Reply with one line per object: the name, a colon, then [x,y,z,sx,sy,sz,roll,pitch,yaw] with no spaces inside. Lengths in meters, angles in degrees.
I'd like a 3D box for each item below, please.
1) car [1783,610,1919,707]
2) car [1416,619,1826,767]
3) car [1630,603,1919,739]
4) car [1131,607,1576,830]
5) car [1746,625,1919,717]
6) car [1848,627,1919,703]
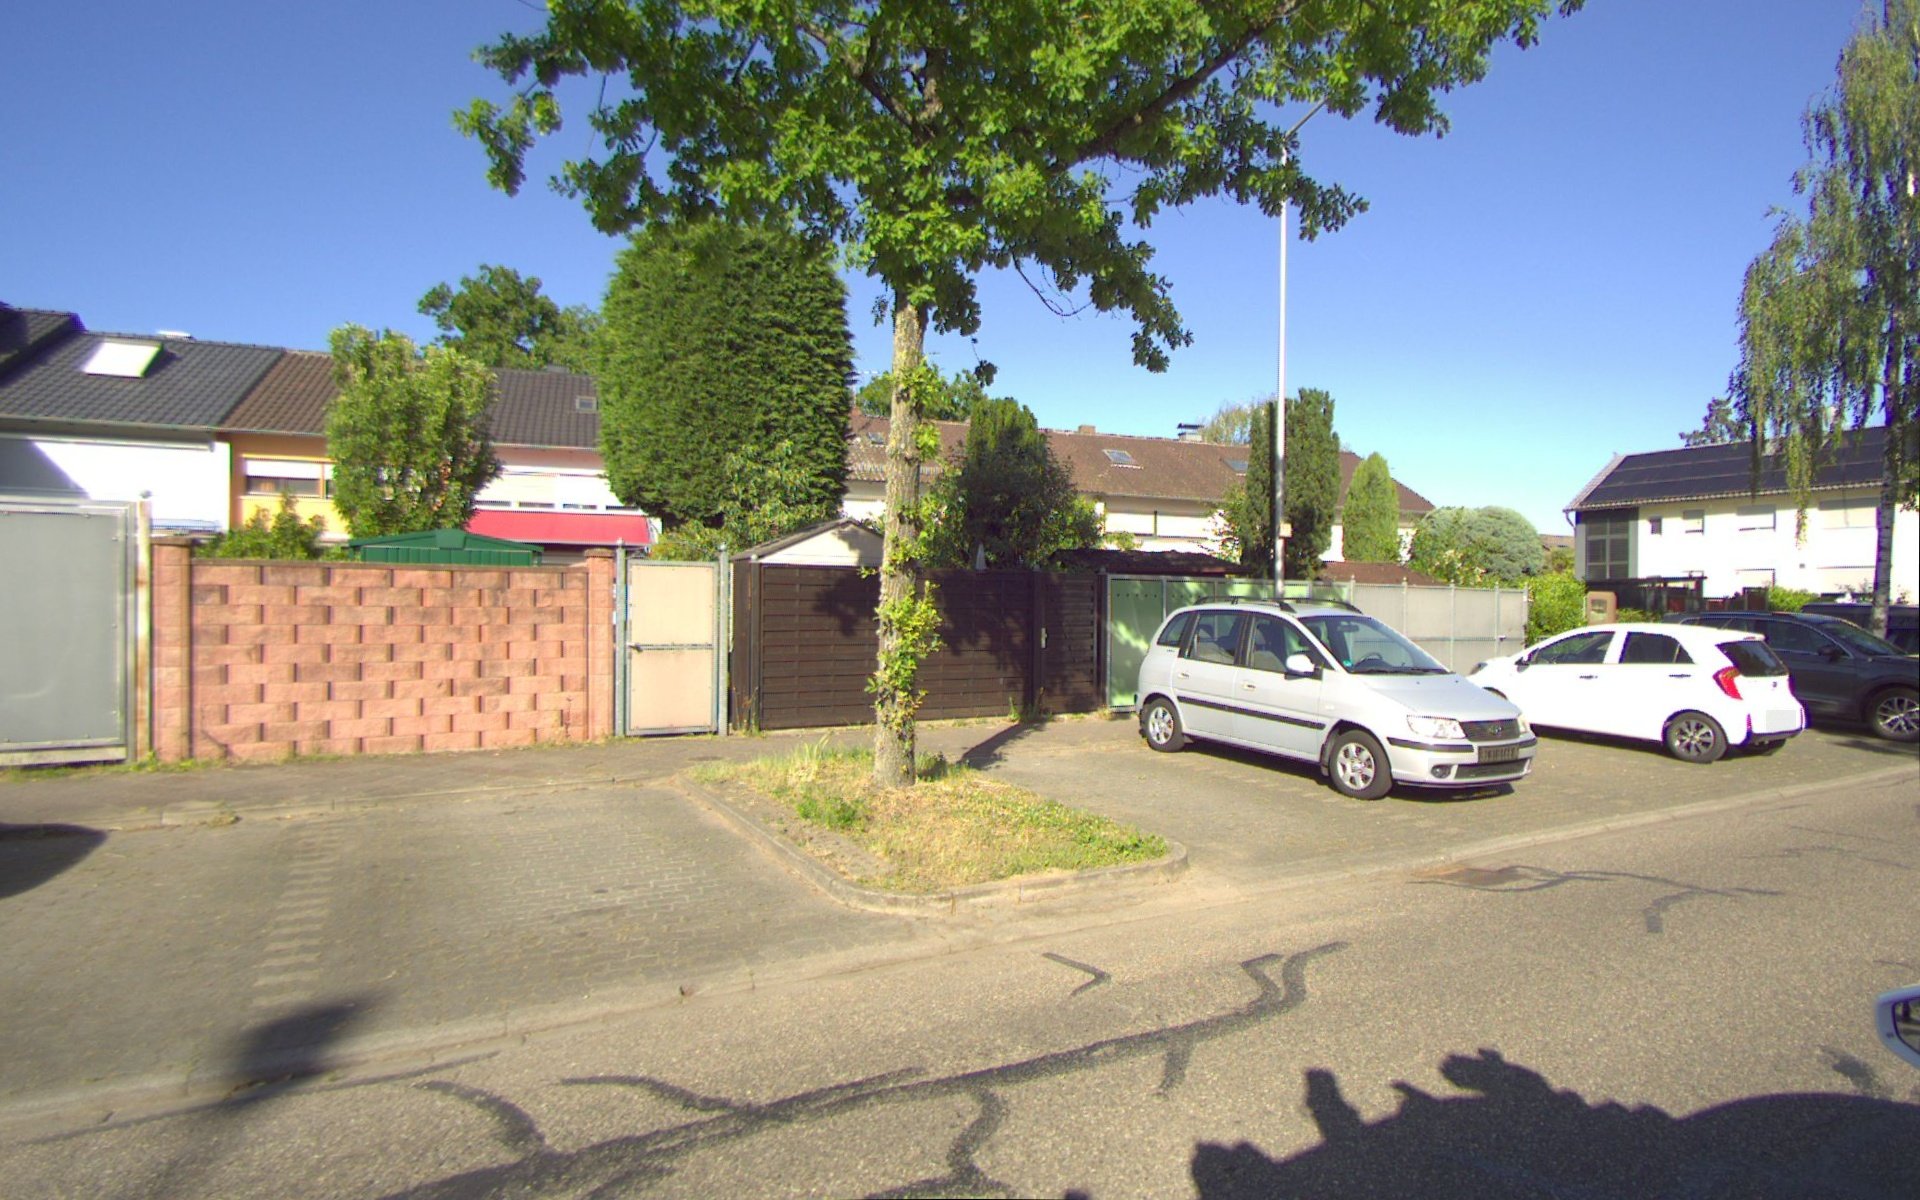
car: [18.634,1.086,18.840,1.775,1.792,4.649,1,-1,-31]
car: [8.068,1.015,12.671,1.773,1.535,3.984,1,-1,-29]
car: [12.413,0.949,14.545,1.739,1.747,4.192,0,-1,-29]
car: [3.561,0.925,9.848,1.685,1.635,3.922,0,1,-28]
car: [16.323,1.200,17.165,1.702,1.443,4.253,0,0,-28]
car: [20.746,1.301,19.880,1.817,1.519,4.450,0,-1,-33]
